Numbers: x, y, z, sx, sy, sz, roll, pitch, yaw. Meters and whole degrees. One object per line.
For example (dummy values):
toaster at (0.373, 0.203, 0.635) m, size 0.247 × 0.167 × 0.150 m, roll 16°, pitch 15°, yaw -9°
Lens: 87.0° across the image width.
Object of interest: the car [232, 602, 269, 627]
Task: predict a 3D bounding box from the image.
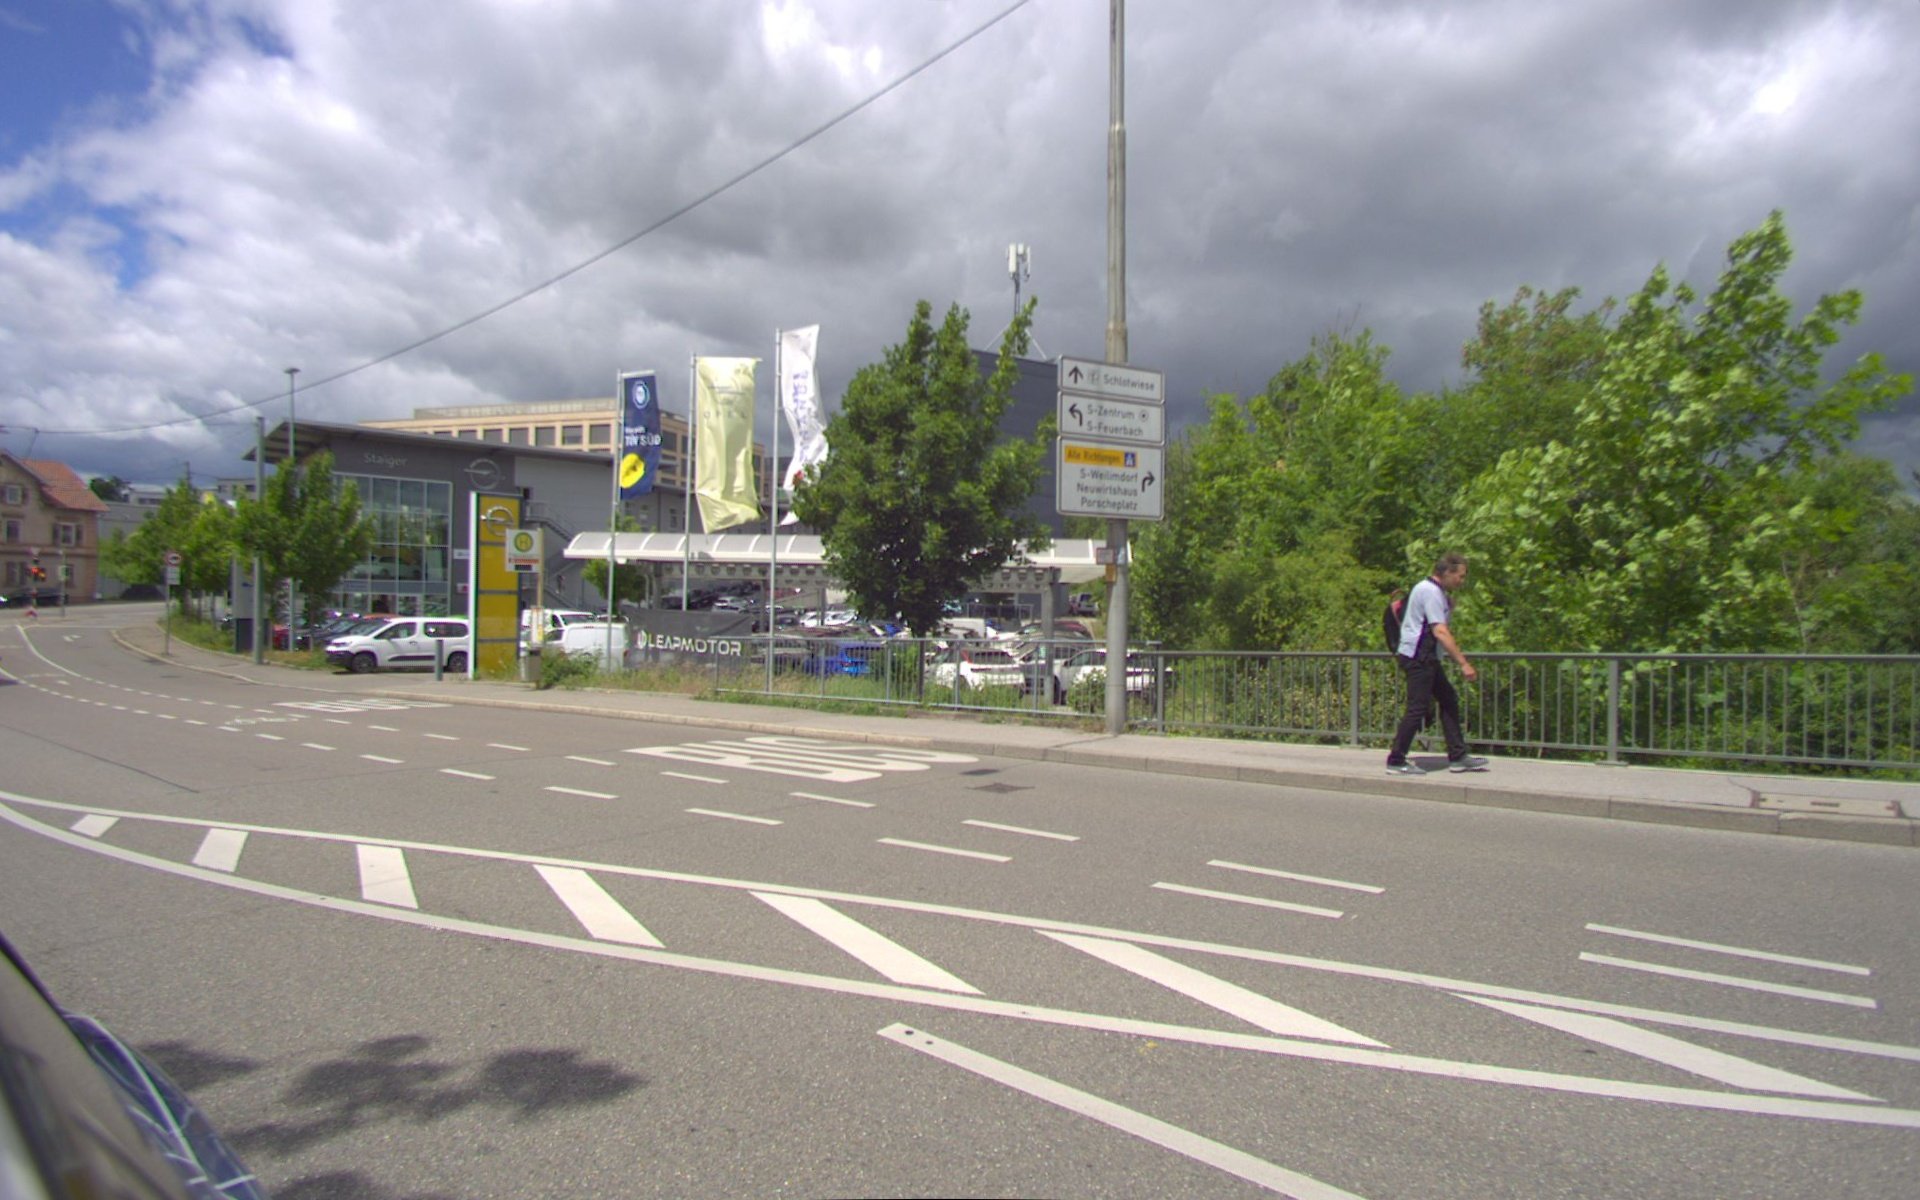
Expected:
car at (-48.790, 0.968, 69.576) m, size 1.917 × 1.485 × 4.316 m, roll -2°, pitch 3°, yaw -37°

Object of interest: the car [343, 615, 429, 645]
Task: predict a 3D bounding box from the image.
car at (-27.750, 1.436, 48.983) m, size 1.517 × 1.384 × 3.280 m, roll 0°, pitch -1°, yaw 42°

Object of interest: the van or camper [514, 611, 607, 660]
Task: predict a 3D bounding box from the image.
van or camper at (-17.714, 1.520, 44.750) m, size 4.685 × 2.029 × 1.972 m, roll 0°, pitch -1°, yaw 42°

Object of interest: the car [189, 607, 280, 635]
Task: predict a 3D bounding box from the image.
car at (-40.944, 1.183, 57.157) m, size 3.940 × 1.509 × 1.814 m, roll 1°, pitch -1°, yaw -44°

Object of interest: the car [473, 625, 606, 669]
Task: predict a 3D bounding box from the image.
car at (-15.588, 1.700, 37.786) m, size 2.000 × 1.447 × 4.489 m, roll 1°, pitch 0°, yaw 22°

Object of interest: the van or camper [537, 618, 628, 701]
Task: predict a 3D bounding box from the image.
van or camper at (-10.407, 1.547, 28.233) m, size 1.956 × 1.978 × 4.973 m, roll 0°, pitch 0°, yaw -16°

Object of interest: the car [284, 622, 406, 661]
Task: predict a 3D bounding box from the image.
car at (-24.606, 1.623, 40.564) m, size 1.772 × 1.472 × 3.794 m, roll 0°, pitch -1°, yaw 40°

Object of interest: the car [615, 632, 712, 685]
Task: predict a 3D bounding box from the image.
car at (-9.679, 1.862, 33.327) m, size 1.795 × 1.477 × 3.995 m, roll 1°, pitch 0°, yaw 4°

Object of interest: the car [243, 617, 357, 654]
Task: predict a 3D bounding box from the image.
car at (-28.561, 1.522, 43.854) m, size 1.812 × 1.509 × 3.808 m, roll 0°, pitch -1°, yaw 41°

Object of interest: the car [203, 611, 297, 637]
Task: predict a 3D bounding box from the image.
car at (-38.912, 1.308, 55.518) m, size 4.019 × 1.405 × 1.814 m, roll 1°, pitch -1°, yaw -44°

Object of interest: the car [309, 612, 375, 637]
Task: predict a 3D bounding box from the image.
car at (-35.701, 1.428, 58.485) m, size 1.518 × 1.384 × 2.977 m, roll 0°, pitch -1°, yaw 43°

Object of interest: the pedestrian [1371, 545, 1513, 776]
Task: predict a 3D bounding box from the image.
pedestrian at (4.200, 0.489, 8.811) m, size 1.032 × 1.851 × 0.990 m, roll -1°, pitch 0°, yaw 28°

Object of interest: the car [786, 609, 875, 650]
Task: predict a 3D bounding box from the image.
car at (-7.582, 1.666, 59.430) m, size 4.754 × 2.028 × 2.006 m, roll -2°, pitch 4°, yaw -31°

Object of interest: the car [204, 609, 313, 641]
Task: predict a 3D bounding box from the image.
car at (-35.649, 1.263, 51.498) m, size 1.812 × 1.509 × 4.232 m, roll 0°, pitch -1°, yaw 43°

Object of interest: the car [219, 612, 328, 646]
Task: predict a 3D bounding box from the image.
car at (-32.304, 1.342, 47.664) m, size 1.812 × 1.509 × 3.938 m, roll 0°, pitch -1°, yaw 42°

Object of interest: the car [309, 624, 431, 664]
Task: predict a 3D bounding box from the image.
car at (-22.804, 1.665, 39.203) m, size 1.792 × 1.420 × 3.664 m, roll 0°, pitch -1°, yaw 36°

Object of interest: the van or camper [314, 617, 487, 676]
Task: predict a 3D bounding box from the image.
van or camper at (-18.302, 1.460, 33.255) m, size 4.613 × 1.763 × 2.002 m, roll 1°, pitch -1°, yaw -44°

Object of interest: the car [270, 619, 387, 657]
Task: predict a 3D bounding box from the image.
car at (-26.429, 1.568, 42.458) m, size 1.811 × 1.509 × 3.776 m, roll 0°, pitch -1°, yaw 39°

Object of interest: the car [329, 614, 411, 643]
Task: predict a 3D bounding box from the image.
car at (-29.880, 1.438, 51.338) m, size 1.517 × 1.384 × 3.280 m, roll 0°, pitch -1°, yaw 42°

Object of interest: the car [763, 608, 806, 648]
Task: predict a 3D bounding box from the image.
car at (-10.173, 1.588, 58.919) m, size 1.970 × 1.962 × 4.004 m, roll -1°, pitch 3°, yaw -3°

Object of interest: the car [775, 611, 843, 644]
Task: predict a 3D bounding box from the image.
car at (-9.955, 1.766, 66.835) m, size 3.938 × 1.824 × 2.003 m, roll -3°, pitch 4°, yaw -41°
